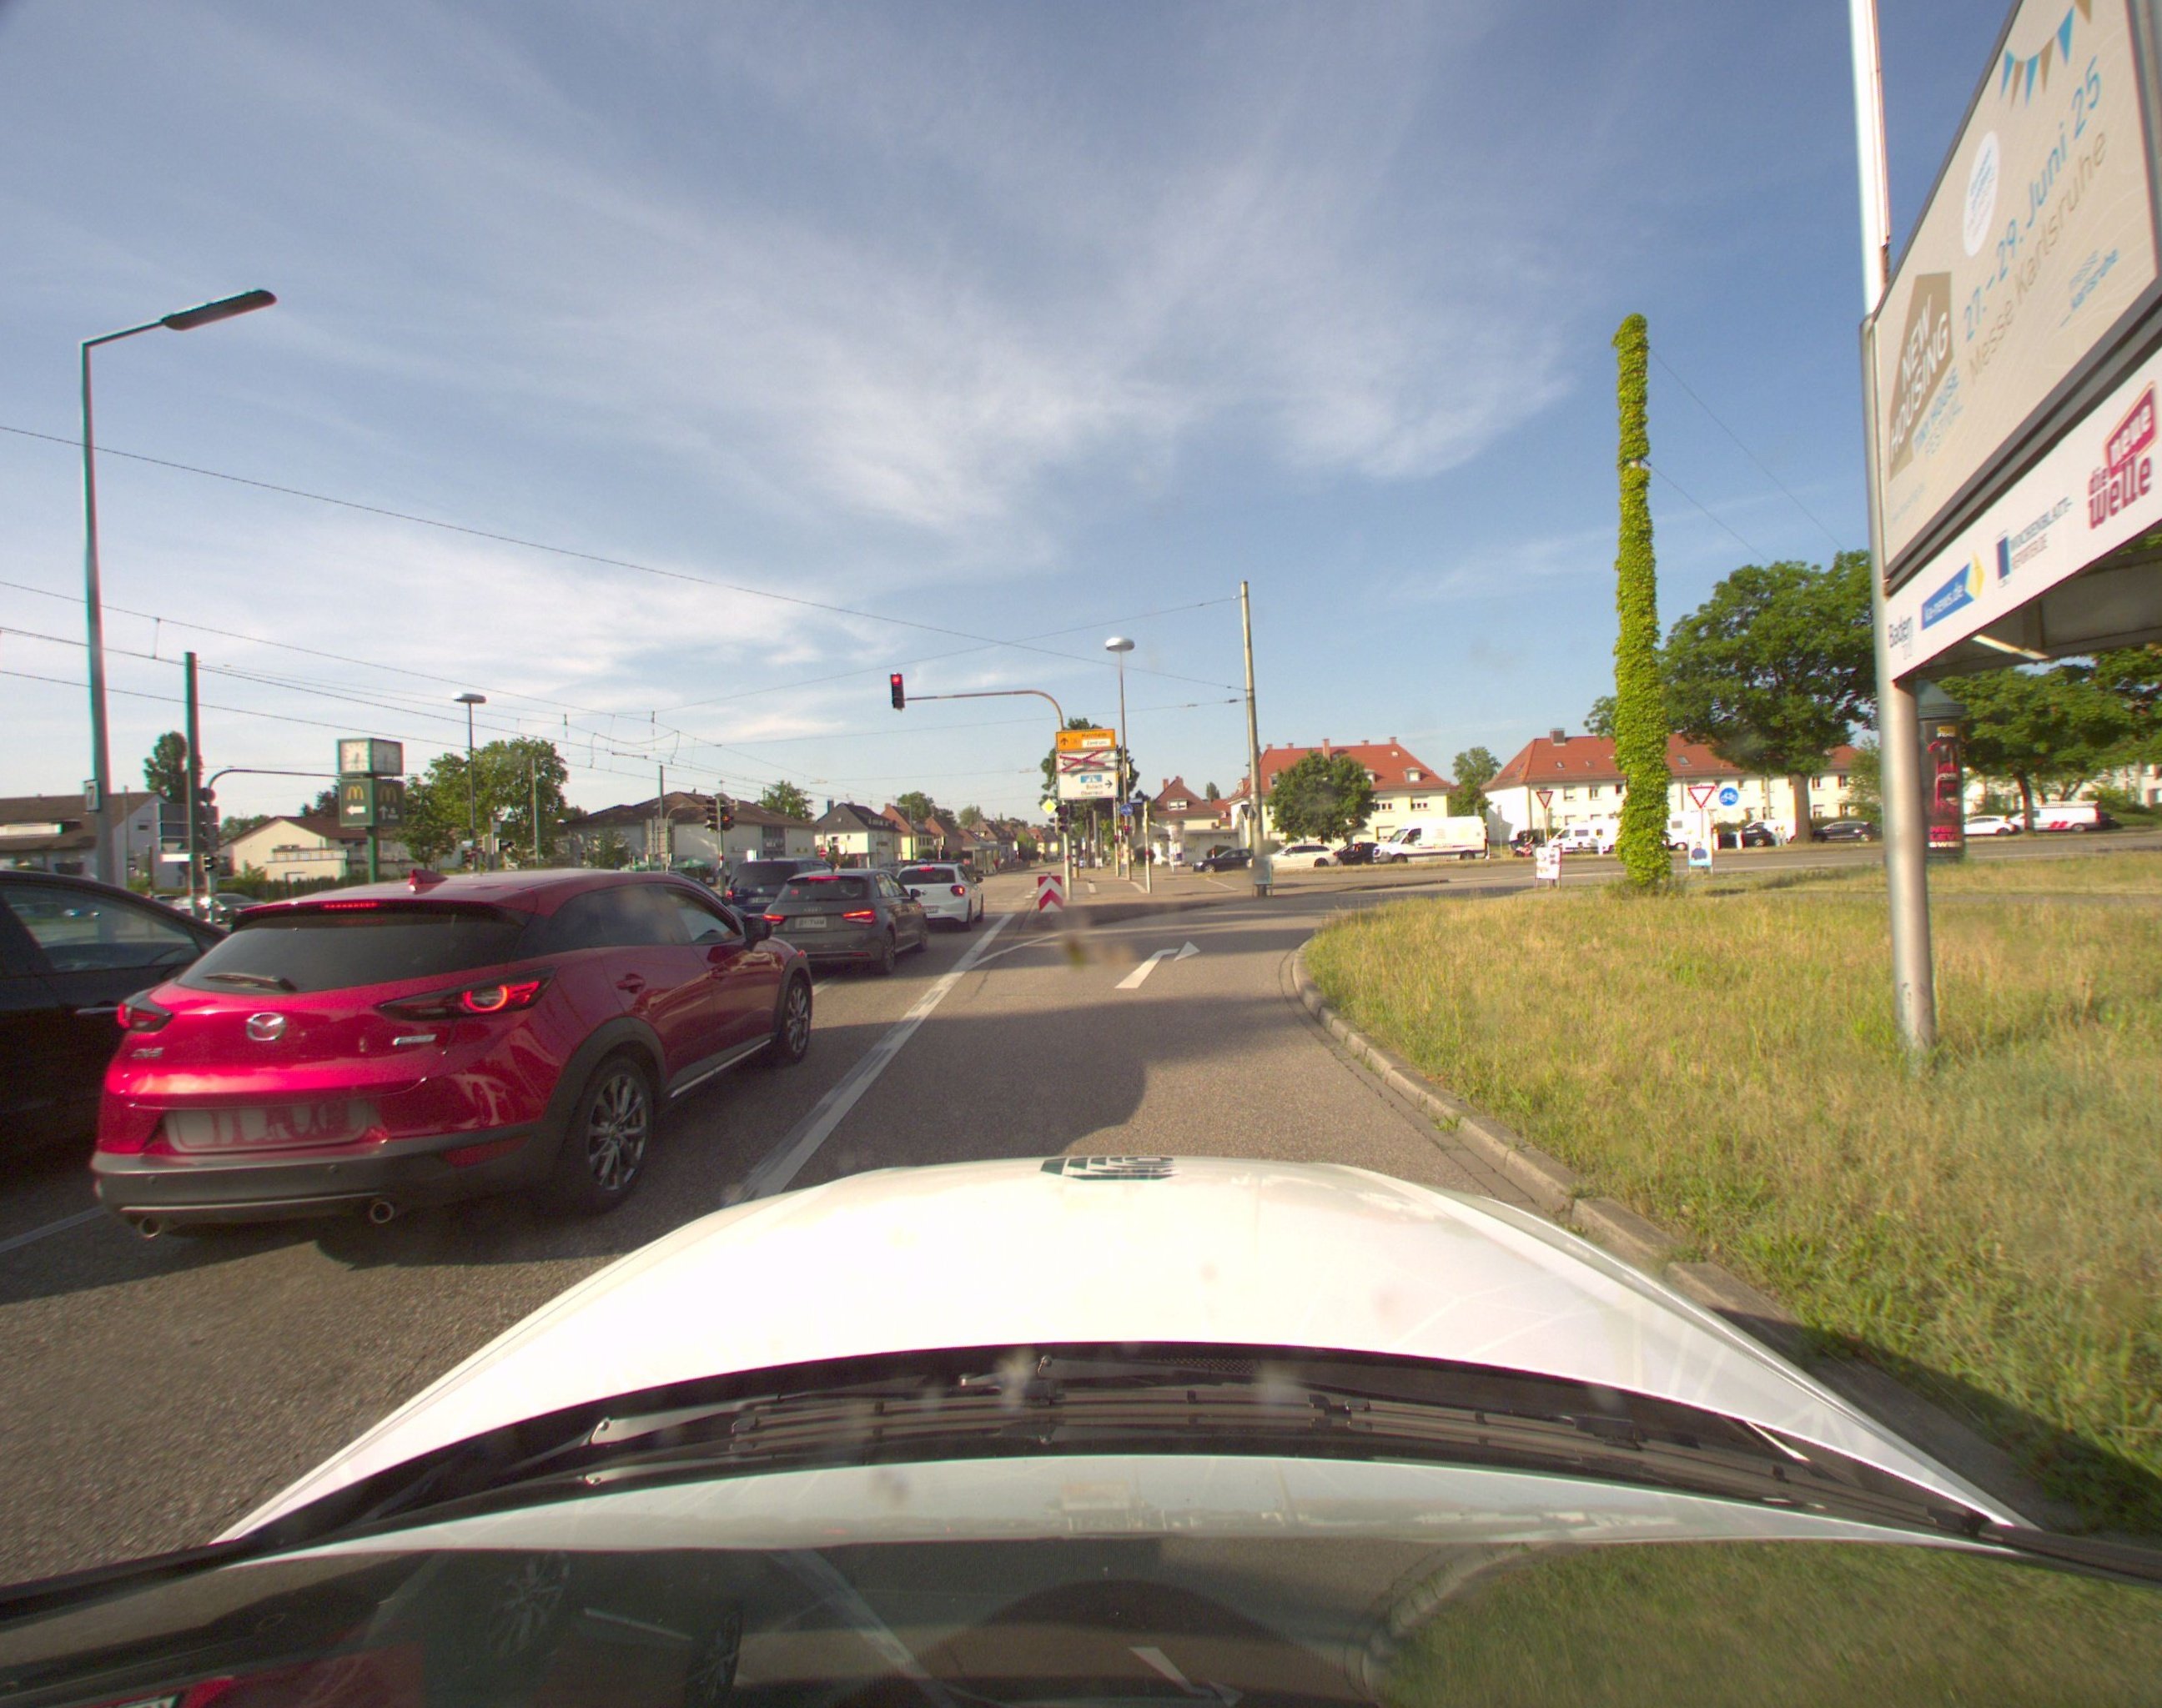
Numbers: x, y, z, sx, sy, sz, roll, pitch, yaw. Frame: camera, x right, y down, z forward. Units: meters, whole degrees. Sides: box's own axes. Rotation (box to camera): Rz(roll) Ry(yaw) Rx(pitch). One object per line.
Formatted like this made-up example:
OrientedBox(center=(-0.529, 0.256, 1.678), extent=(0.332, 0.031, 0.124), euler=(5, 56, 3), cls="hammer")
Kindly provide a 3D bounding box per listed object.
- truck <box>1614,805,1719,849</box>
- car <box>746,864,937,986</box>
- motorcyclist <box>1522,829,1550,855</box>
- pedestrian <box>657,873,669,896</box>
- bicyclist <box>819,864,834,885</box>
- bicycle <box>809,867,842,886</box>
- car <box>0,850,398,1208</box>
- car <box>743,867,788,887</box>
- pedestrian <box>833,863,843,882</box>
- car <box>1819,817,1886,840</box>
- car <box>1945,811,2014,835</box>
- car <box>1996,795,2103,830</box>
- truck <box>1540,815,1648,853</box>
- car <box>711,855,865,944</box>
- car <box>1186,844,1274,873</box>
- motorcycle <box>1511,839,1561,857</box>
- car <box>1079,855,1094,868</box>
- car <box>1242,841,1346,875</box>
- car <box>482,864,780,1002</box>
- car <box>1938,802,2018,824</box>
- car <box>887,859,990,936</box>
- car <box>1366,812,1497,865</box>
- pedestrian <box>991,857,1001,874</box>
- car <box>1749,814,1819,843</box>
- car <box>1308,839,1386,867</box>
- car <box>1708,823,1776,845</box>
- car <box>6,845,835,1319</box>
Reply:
OrientedBox(center=(43.577, -1.963, 60.741), extent=(6.002, 2.854, 1.907), euler=(-3, -1, 44), cls="truck")
OrientedBox(center=(-3.337, 0.911, 12.111), extent=(1.636, 1.397, 3.827), euler=(-3, 0, 0), cls="car")
OrientedBox(center=(24.241, -0.630, 43.415), extent=(1.062, 1.352, 0.679), euler=(-2, 0, -1), cls="motorcyclist")
OrientedBox(center=(-30.252, 2.197, 58.987), extent=(0.510, 1.599, 0.540), euler=(-2, 0, 0), cls="pedestrian")
OrientedBox(center=(-18.381, 1.468, 58.785), extent=(0.883, 1.431, 1.133), euler=(-1, -1, -9), cls="bicyclist")
OrientedBox(center=(-18.433, 1.623, 58.781), extent=(2.073, 1.348, 1.105), euler=(-1, -1, -9), cls="bicycle")
OrientedBox(center=(-5.957, 0.847, 4.042), extent=(1.759, 1.670, 4.080), euler=(-2, 0, -3), cls="car")
OrientedBox(center=(-26.945, 1.934, 69.689), extent=(1.987, 1.508, 4.607), euler=(-3, 0, 0), cls="car")
OrientedBox(center=(-18.434, 1.377, 61.800), extent=(0.577, 1.431, 0.546), euler=(-1, -1, -6), cls="pedestrian")
OrientedBox(center=(57.221, -1.900, 60.429), extent=(1.906, 1.514, 3.457), euler=(-2, -1, -42), cls="car")
OrientedBox(center=(67.109, -2.297, 60.871), extent=(1.906, 1.514, 3.391), euler=(-2, -1, -42), cls="car")
OrientedBox(center=(72.968, -3.074, 61.479), extent=(4.917, 2.232, 2.012), euler=(-3, -1, 44), cls="car")
OrientedBox(center=(37.668, -1.445, 59.976), extent=(2.287, 2.524, 6.289), euler=(-2, 0, -35), cls="truck")
OrientedBox(center=(-6.365, 0.893, 18.303), extent=(1.501, 1.651, 4.746), euler=(-3, 0, 2), cls="car")
OrientedBox(center=(8.674, 0.262, 47.692), extent=(4.807, 1.411, 1.716), euler=(-3, 0, 0), cls="car")
OrientedBox(center=(24.259, -0.330, 43.418), extent=(2.264, 0.866, 0.690), euler=(-3, 0, -1), cls="motorcycle")
OrientedBox(center=(0.616, 0.835, 92.167), extent=(1.669, 1.398, 4.000), euler=(-1, -1, 1), cls="car")
OrientedBox(center=(11.482, 0.198, 44.105), extent=(5.077, 1.563, 1.840), euler=(-3, 0, 0), cls="car")
OrientedBox(center=(-6.140, 0.958, 11.872), extent=(1.693, 1.508, 4.554), euler=(-2, 0, 1), cls="car")
OrientedBox(center=(84.360, -3.848, 76.725), extent=(1.987, 1.719, 4.978), euler=(-3, 0, 0), cls="car")
OrientedBox(center=(-3.064, 0.884, 18.277), extent=(1.652, 1.443, 4.011), euler=(-3, 0, -2), cls="car")
OrientedBox(center=(18.965, -0.818, 44.237), extent=(6.187, 2.583, 2.000), euler=(-3, 0, 0), cls="car")
OrientedBox(center=(-7.829, 1.082, 74.822), extent=(0.750, 1.499, 0.827), euler=(-1, -1, 2), cls="pedestrian")
OrientedBox(center=(53.045, -1.918, 61.492), extent=(3.860, 1.920, 1.907), euler=(-3, -1, 44), cls="car")
OrientedBox(center=(15.498, -0.046, 47.657), extent=(3.973, 1.453, 1.716), euler=(-3, 0, 0), cls="car")
OrientedBox(center=(49.844, -1.510, 61.406), extent=(3.859, 1.456, 1.908), euler=(-3, -1, 41), cls="car")
OrientedBox(center=(-2.907, 0.809, 4.847), extent=(1.702, 1.552, 3.975), euler=(-3, -1, -2), cls="car")
